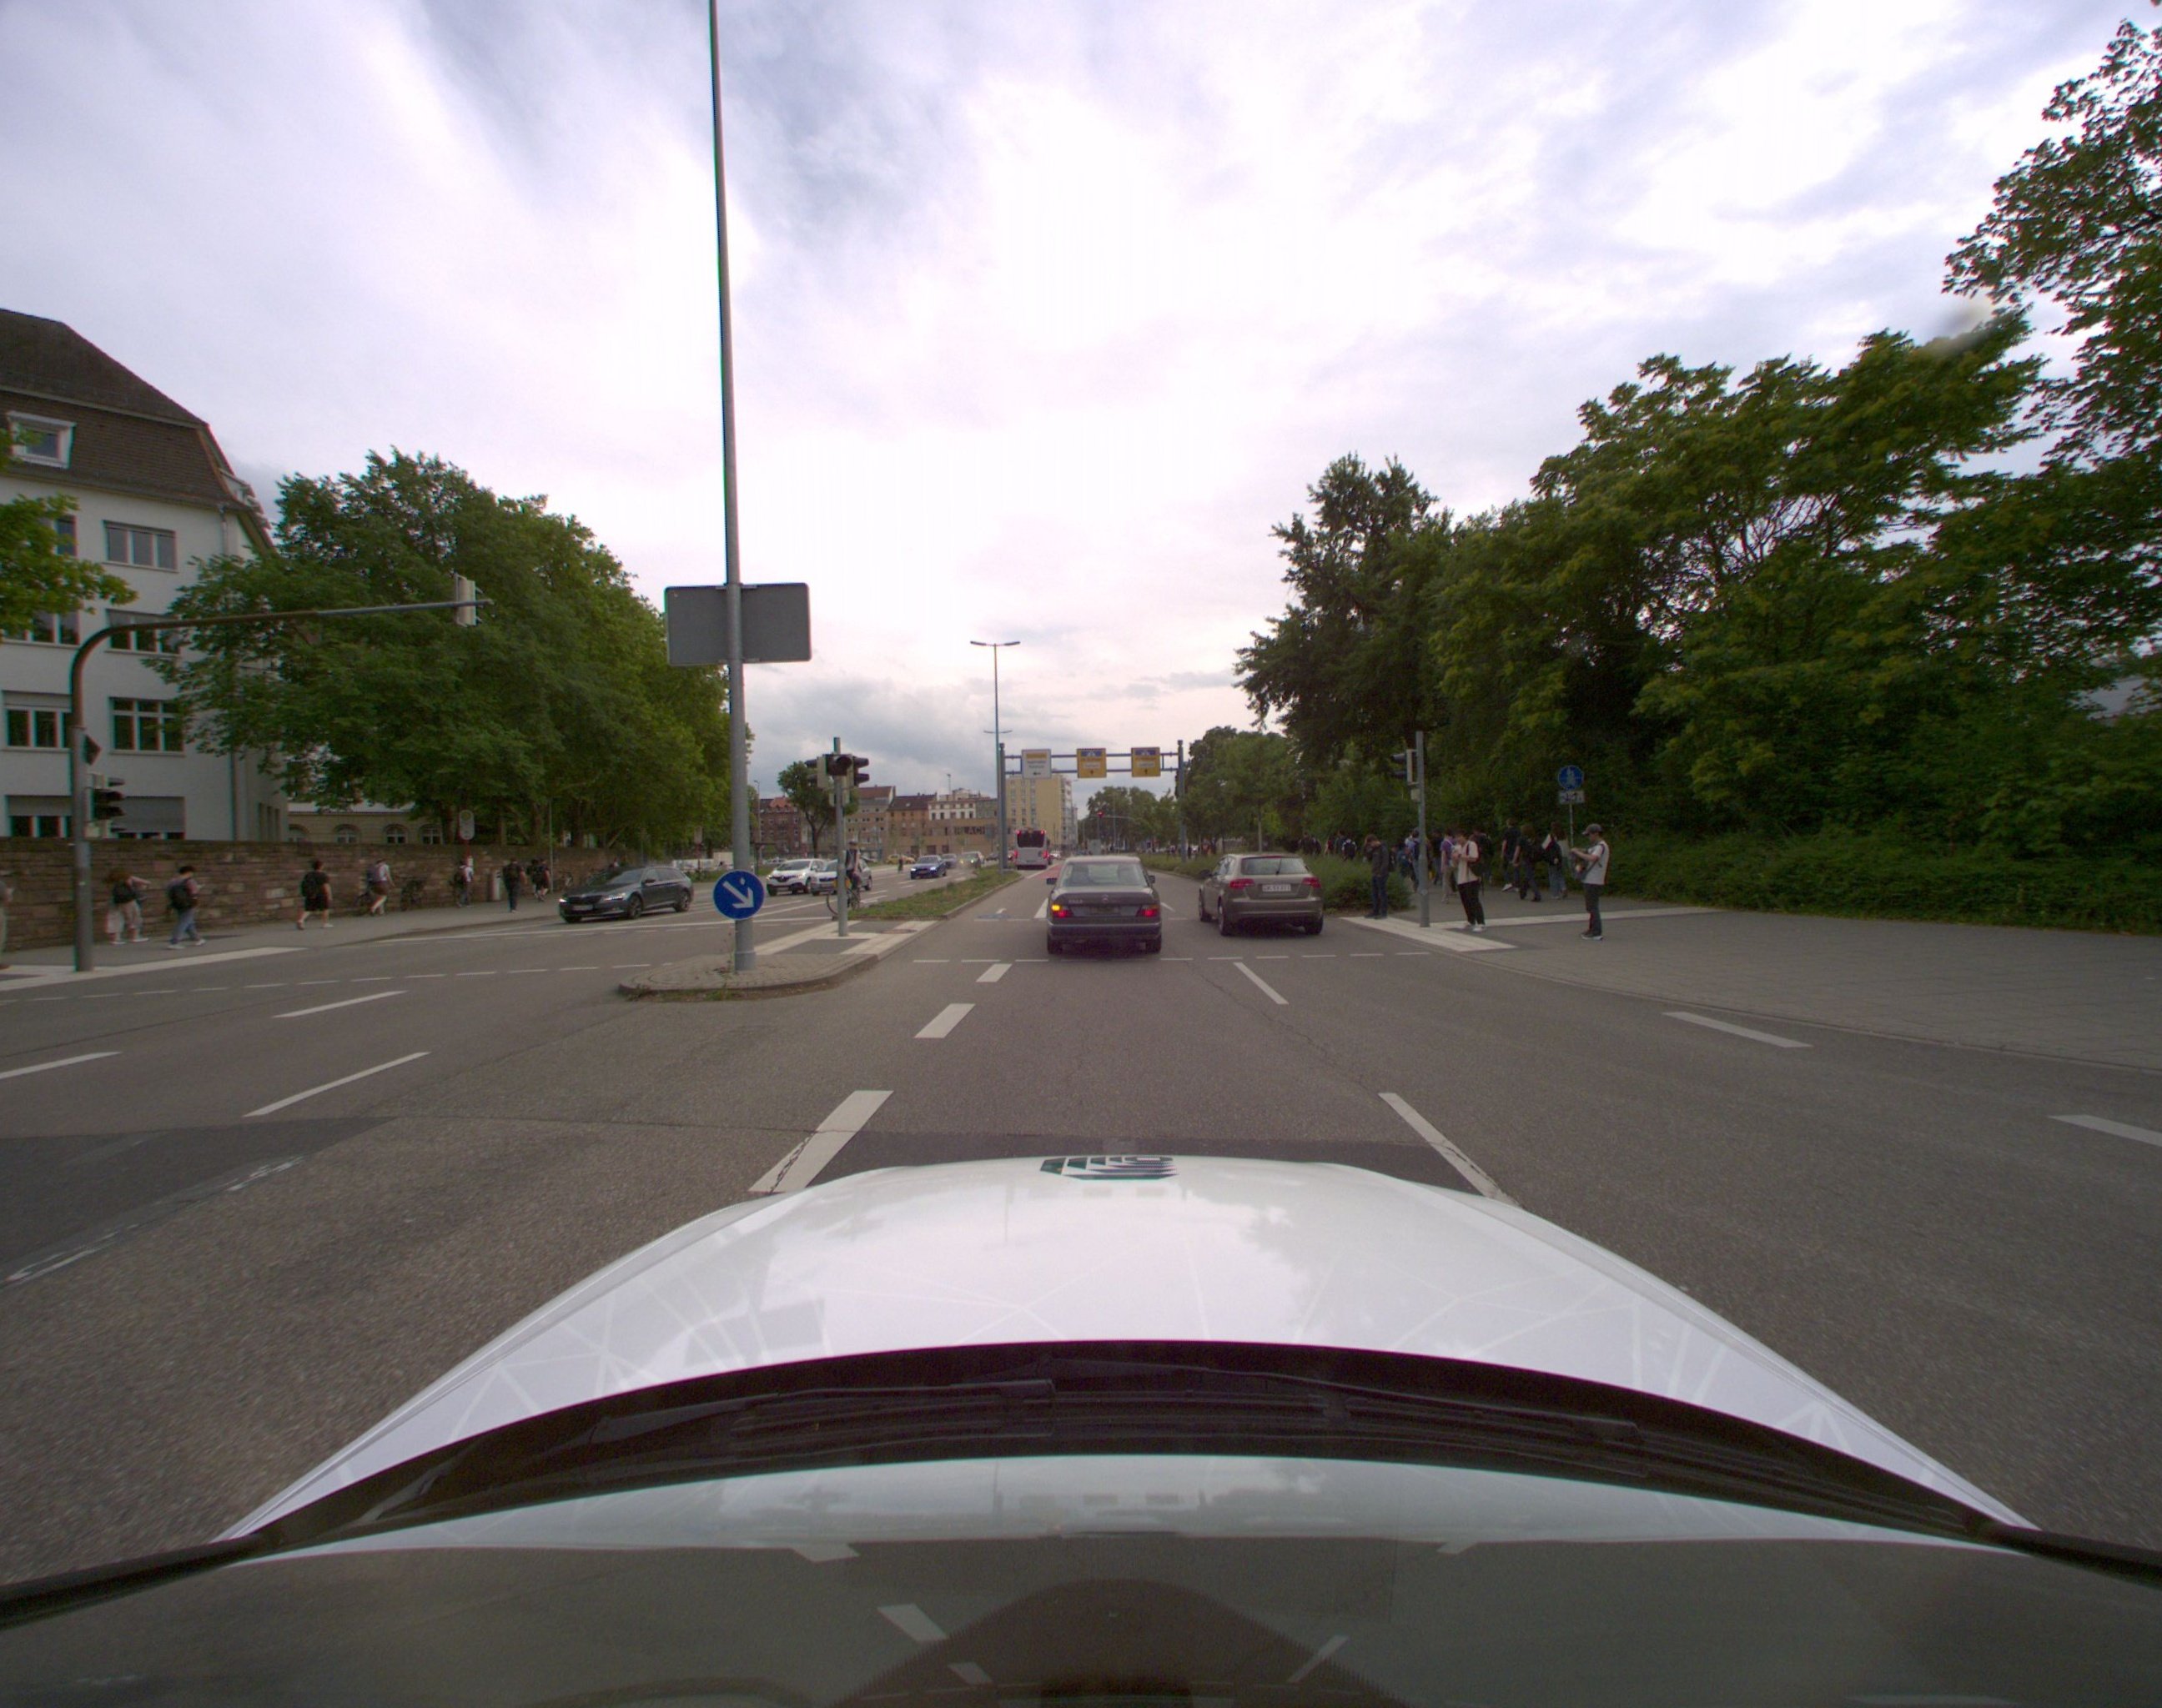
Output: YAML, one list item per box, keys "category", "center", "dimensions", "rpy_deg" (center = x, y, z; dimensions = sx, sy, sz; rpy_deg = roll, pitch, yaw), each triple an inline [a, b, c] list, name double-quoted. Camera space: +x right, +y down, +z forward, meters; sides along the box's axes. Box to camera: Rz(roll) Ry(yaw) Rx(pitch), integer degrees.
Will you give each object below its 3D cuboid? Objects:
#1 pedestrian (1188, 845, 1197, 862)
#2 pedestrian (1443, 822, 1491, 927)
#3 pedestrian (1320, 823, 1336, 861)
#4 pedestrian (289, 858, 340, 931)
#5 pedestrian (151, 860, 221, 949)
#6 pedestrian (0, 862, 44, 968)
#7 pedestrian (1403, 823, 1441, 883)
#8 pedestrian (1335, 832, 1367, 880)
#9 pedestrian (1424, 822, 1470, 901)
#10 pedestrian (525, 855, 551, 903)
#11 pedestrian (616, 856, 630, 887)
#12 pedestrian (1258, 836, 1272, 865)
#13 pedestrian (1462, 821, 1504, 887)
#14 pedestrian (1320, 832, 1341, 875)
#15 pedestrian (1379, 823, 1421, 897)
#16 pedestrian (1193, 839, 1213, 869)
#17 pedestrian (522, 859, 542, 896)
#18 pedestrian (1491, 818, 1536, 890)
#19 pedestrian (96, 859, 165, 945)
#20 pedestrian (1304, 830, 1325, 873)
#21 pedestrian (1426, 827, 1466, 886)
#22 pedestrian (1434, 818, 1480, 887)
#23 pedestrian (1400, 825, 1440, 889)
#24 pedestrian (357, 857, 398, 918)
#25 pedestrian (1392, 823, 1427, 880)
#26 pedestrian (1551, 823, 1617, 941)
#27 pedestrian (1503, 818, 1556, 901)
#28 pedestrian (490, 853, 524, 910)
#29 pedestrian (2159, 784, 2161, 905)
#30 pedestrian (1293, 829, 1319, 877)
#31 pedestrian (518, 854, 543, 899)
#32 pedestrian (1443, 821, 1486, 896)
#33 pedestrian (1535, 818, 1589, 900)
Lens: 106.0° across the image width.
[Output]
- category: "pedestrian"
  center: [11.700, -0.061, 85.311]
  dimensions: [0.796, 1.713, 0.767]
  rpy_deg: [-2, 0, 12]
- category: "pedestrian"
  center: [6.550, 0.333, 13.825]
  dimensions: [0.453, 1.735, 0.636]
  rpy_deg: [-1, 0, -3]
- category: "pedestrian"
  center: [10.637, -0.519, 35.056]
  dimensions: [0.466, 1.633, 0.653]
  rpy_deg: [-2, 0, 0]
- category: "pedestrian"
  center: [-19.278, 1.006, 20.498]
  dimensions: [0.763, 1.782, 0.776]
  rpy_deg: [-1, -2, -30]
- category: "pedestrian"
  center: [-18.471, 1.022, 16.827]
  dimensions: [0.764, 1.782, 0.776]
  rpy_deg: [-1, -2, -31]
- category: "pedestrian"
  center: [-18.506, 1.035, 13.911]
  dimensions: [0.750, 1.782, 0.775]
  rpy_deg: [-1, -2, -34]
- category: "pedestrian"
  center: [9.844, -0.036, 23.538]
  dimensions: [0.655, 1.689, 0.841]
  rpy_deg: [-2, 0, -3]
- category: "pedestrian"
  center: [9.210, 0.066, 27.833]
  dimensions: [0.773, 1.602, 0.812]
  rpy_deg: [-2, 0, -1]
- category: "pedestrian"
  center: [8.304, 0.171, 18.505]
  dimensions: [0.623, 1.745, 0.779]
  rpy_deg: [-2, 0, -3]
- category: "pedestrian"
  center: [-20.967, 0.960, 31.454]
  dimensions: [0.763, 1.782, 0.915]
  rpy_deg: [-1, -2, -29]
- category: "pedestrian"
  center: [-24.871, 0.973, 44.238]
  dimensions: [0.561, 1.668, 0.623]
  rpy_deg: [-1, -2, -18]
- category: "pedestrian"
  center: [10.866, -0.209, 48.139]
  dimensions: [0.585, 1.682, 0.748]
  rpy_deg: [-2, 0, 0]
- category: "pedestrian"
  center: [10.656, -0.013, 21.602]
  dimensions: [0.655, 1.699, 0.779]
  rpy_deg: [-2, 0, -3]
- category: "pedestrian"
  center: [9.740, -0.028, 31.811]
  dimensions: [0.554, 1.655, 0.753]
  rpy_deg: [-2, 0, 0]
- category: "pedestrian"
  center: [7.812, 0.144, 19.992]
  dimensions: [0.655, 1.745, 0.779]
  rpy_deg: [-2, 0, -3]
- category: "pedestrian"
  center: [7.550, 0.002, 50.341]
  dimensions: [0.925, 1.830, 0.892]
  rpy_deg: [-2, 0, 26]
- category: "pedestrian"
  center: [-24.024, 1.014, 35.629]
  dimensions: [0.588, 1.592, 0.730]
  rpy_deg: [-1, -2, -23]
- category: "pedestrian"
  center: [10.867, -0.008, 20.466]
  dimensions: [0.655, 1.745, 0.779]
  rpy_deg: [-2, 0, -3]
- category: "pedestrian"
  center: [-20.395, 1.019, 17.498]
  dimensions: [0.764, 1.782, 0.776]
  rpy_deg: [-1, -2, -33]
- category: "pedestrian"
  center: [9.772, -0.103, 34.125]
  dimensions: [0.617, 1.735, 0.814]
  rpy_deg: [-2, 0, 0]
- category: "pedestrian"
  center: [10.554, 0.061, 23.586]
  dimensions: [0.655, 1.667, 0.970]
  rpy_deg: [-2, 0, -3]
- category: "pedestrian"
  center: [9.950, -0.037, 21.578]
  dimensions: [0.655, 1.766, 0.957]
  rpy_deg: [-3, 0, -3]
- category: "pedestrian"
  center: [8.966, 0.082, 21.533]
  dimensions: [0.655, 1.648, 0.811]
  rpy_deg: [-2, 0, -3]
- category: "pedestrian"
  center: [-21.305, 1.002, 24.680]
  dimensions: [0.763, 1.782, 0.906]
  rpy_deg: [-1, -2, -29]
- category: "pedestrian"
  center: [10.369, -0.080, 25.702]
  dimensions: [0.719, 1.744, 0.812]
  rpy_deg: [-2, 0, 0]
- category: "pedestrian"
  center: [7.432, 0.401, 12.056]
  dimensions: [0.544, 1.687, 0.636]
  rpy_deg: [-1, 0, -3]
- category: "pedestrian"
  center: [9.823, 0.117, 17.863]
  dimensions: [0.655, 1.745, 0.779]
  rpy_deg: [-2, 0, -3]
- category: "pedestrian"
  center: [-18.366, 0.881, 26.074]
  dimensions: [0.762, 1.782, 0.716]
  rpy_deg: [-1, -2, -25]
- category: "pedestrian"
  center: [12.609, 0.100, 8.906]
  dimensions: [0.643, 1.795, 0.739]
  rpy_deg: [-1, 0, -3]
- category: "pedestrian"
  center: [8.697, -0.035, 31.497]
  dimensions: [0.690, 1.821, 0.954]
  rpy_deg: [-2, 0, 0]
- category: "pedestrian"
  center: [-22.141, 0.917, 32.767]
  dimensions: [0.763, 1.782, 0.776]
  rpy_deg: [-1, -2, -30]
- category: "pedestrian"
  center: [9.132, 0.096, 19.431]
  dimensions: [0.580, 1.745, 0.789]
  rpy_deg: [-2, 0, -3]
- category: "pedestrian"
  center: [10.584, 0.110, 17.938]
  dimensions: [0.655, 1.745, 0.779]
  rpy_deg: [-2, 0, -3]
